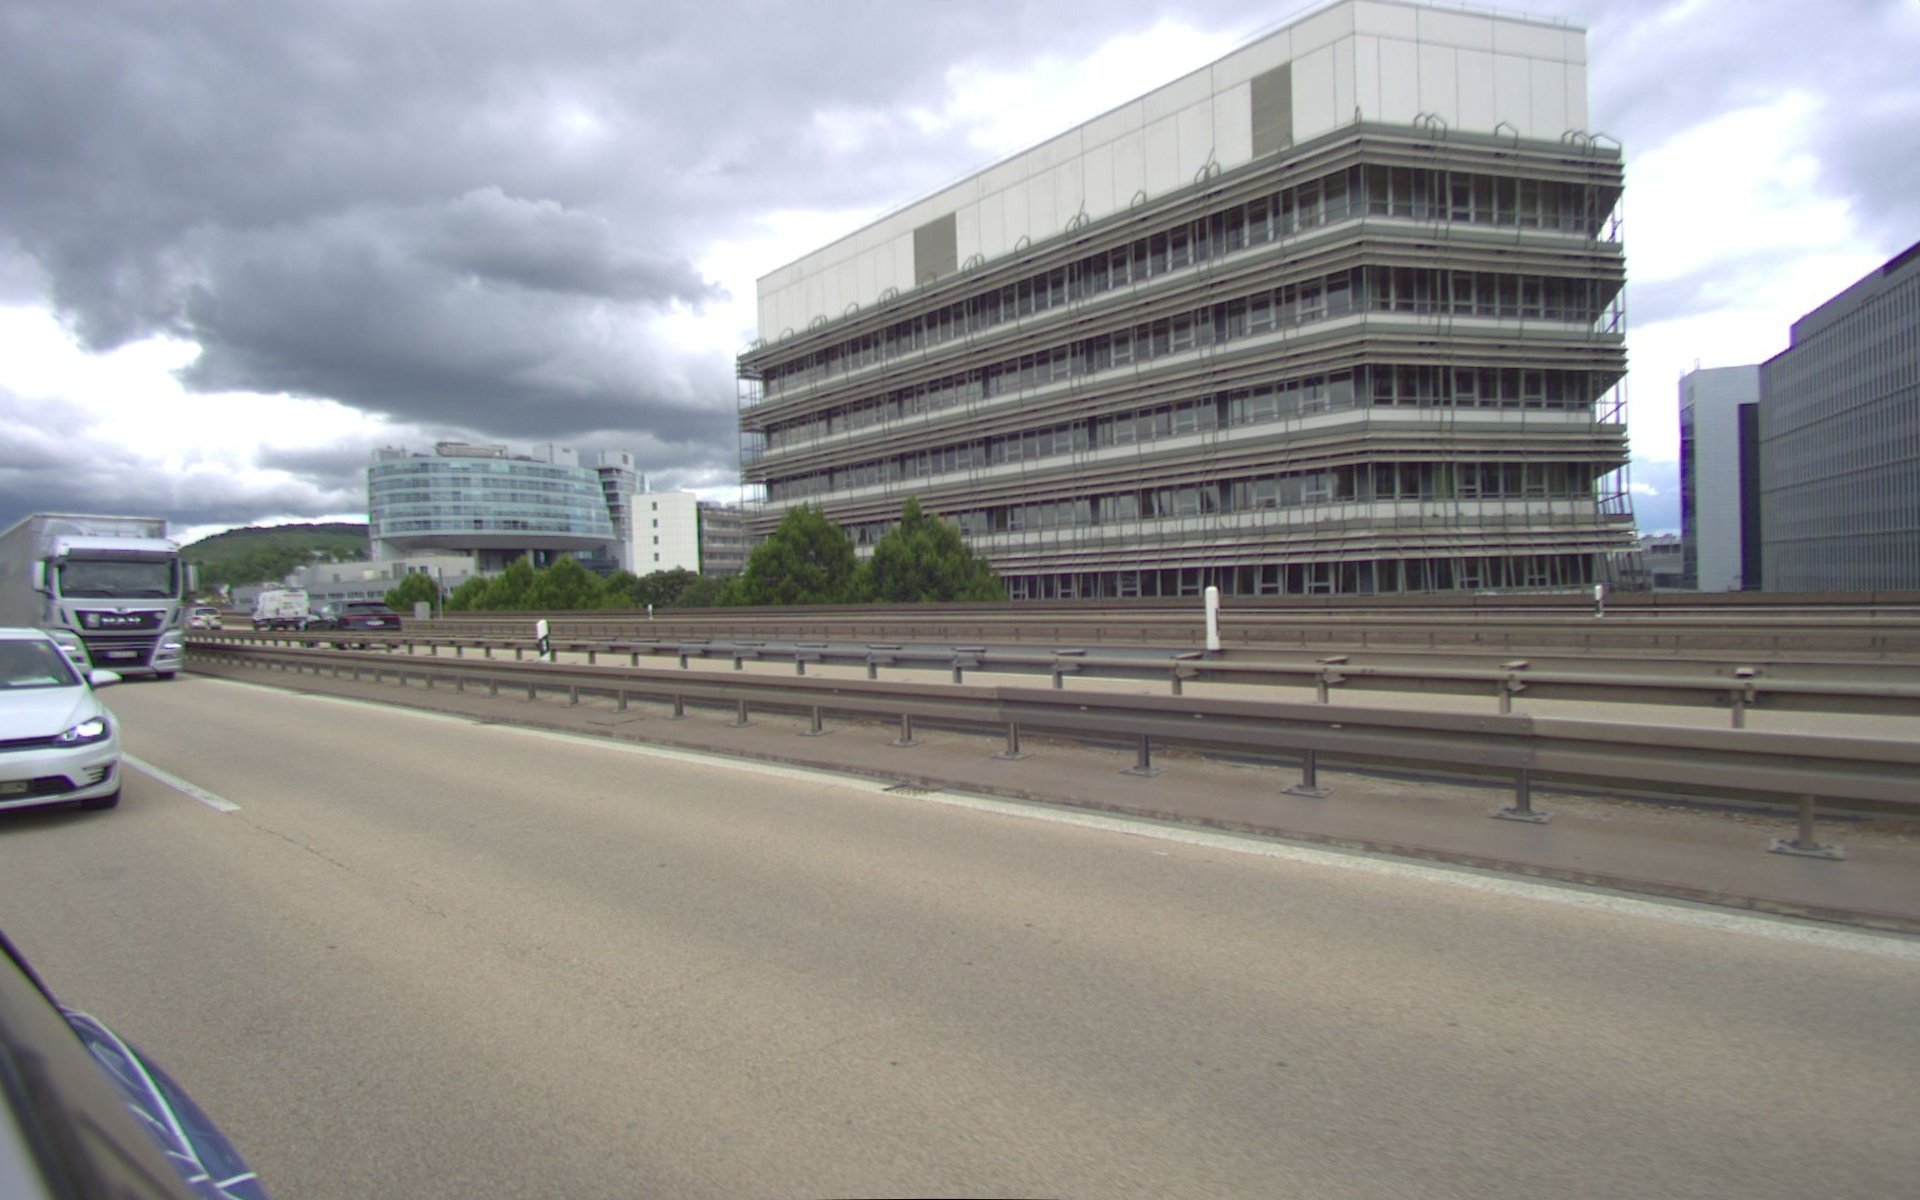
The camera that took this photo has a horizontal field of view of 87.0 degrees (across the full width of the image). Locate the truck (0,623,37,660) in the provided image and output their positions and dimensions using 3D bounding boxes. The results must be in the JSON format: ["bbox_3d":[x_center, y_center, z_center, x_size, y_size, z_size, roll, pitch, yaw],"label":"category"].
[{"bbox_3d":[-42.170,1.823,44.758,3.515,1.541,1.804,-1,0,44],"label":"truck"}]

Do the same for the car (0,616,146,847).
[{"bbox_3d":[-8.020,0.917,8.067,4.062,1.519,1.904,-1,0,44],"label":"car"}]

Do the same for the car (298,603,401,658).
[{"bbox_3d":[-20.911,0.999,34.581,4.333,1.662,1.744,-1,2,41],"label":"car"}]

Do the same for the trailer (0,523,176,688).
[{"bbox_3d":[-26.568,0.155,30.038,11.763,4.056,3.148,-1,1,42],"label":"trailer"}]

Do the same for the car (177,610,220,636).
[{"bbox_3d":[-51.815,1.540,68.831,4.313,1.662,1.664,-1,1,44],"label":"car"}]

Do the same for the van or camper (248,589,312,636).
[{"bbox_3d":[-46.079,0.861,68.479,7.120,3.031,2.147,-1,0,44],"label":"van or camper"}]

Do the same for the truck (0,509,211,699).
[{"bbox_3d":[-20.879,0.055,24.635,5.687,4.067,3.101,-1,2,42],"label":"truck"}]

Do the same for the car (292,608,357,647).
[{"bbox_3d":[-30.176,1.273,48.014,1.664,1.662,4.451,-3,2,-45],"label":"car"}]
